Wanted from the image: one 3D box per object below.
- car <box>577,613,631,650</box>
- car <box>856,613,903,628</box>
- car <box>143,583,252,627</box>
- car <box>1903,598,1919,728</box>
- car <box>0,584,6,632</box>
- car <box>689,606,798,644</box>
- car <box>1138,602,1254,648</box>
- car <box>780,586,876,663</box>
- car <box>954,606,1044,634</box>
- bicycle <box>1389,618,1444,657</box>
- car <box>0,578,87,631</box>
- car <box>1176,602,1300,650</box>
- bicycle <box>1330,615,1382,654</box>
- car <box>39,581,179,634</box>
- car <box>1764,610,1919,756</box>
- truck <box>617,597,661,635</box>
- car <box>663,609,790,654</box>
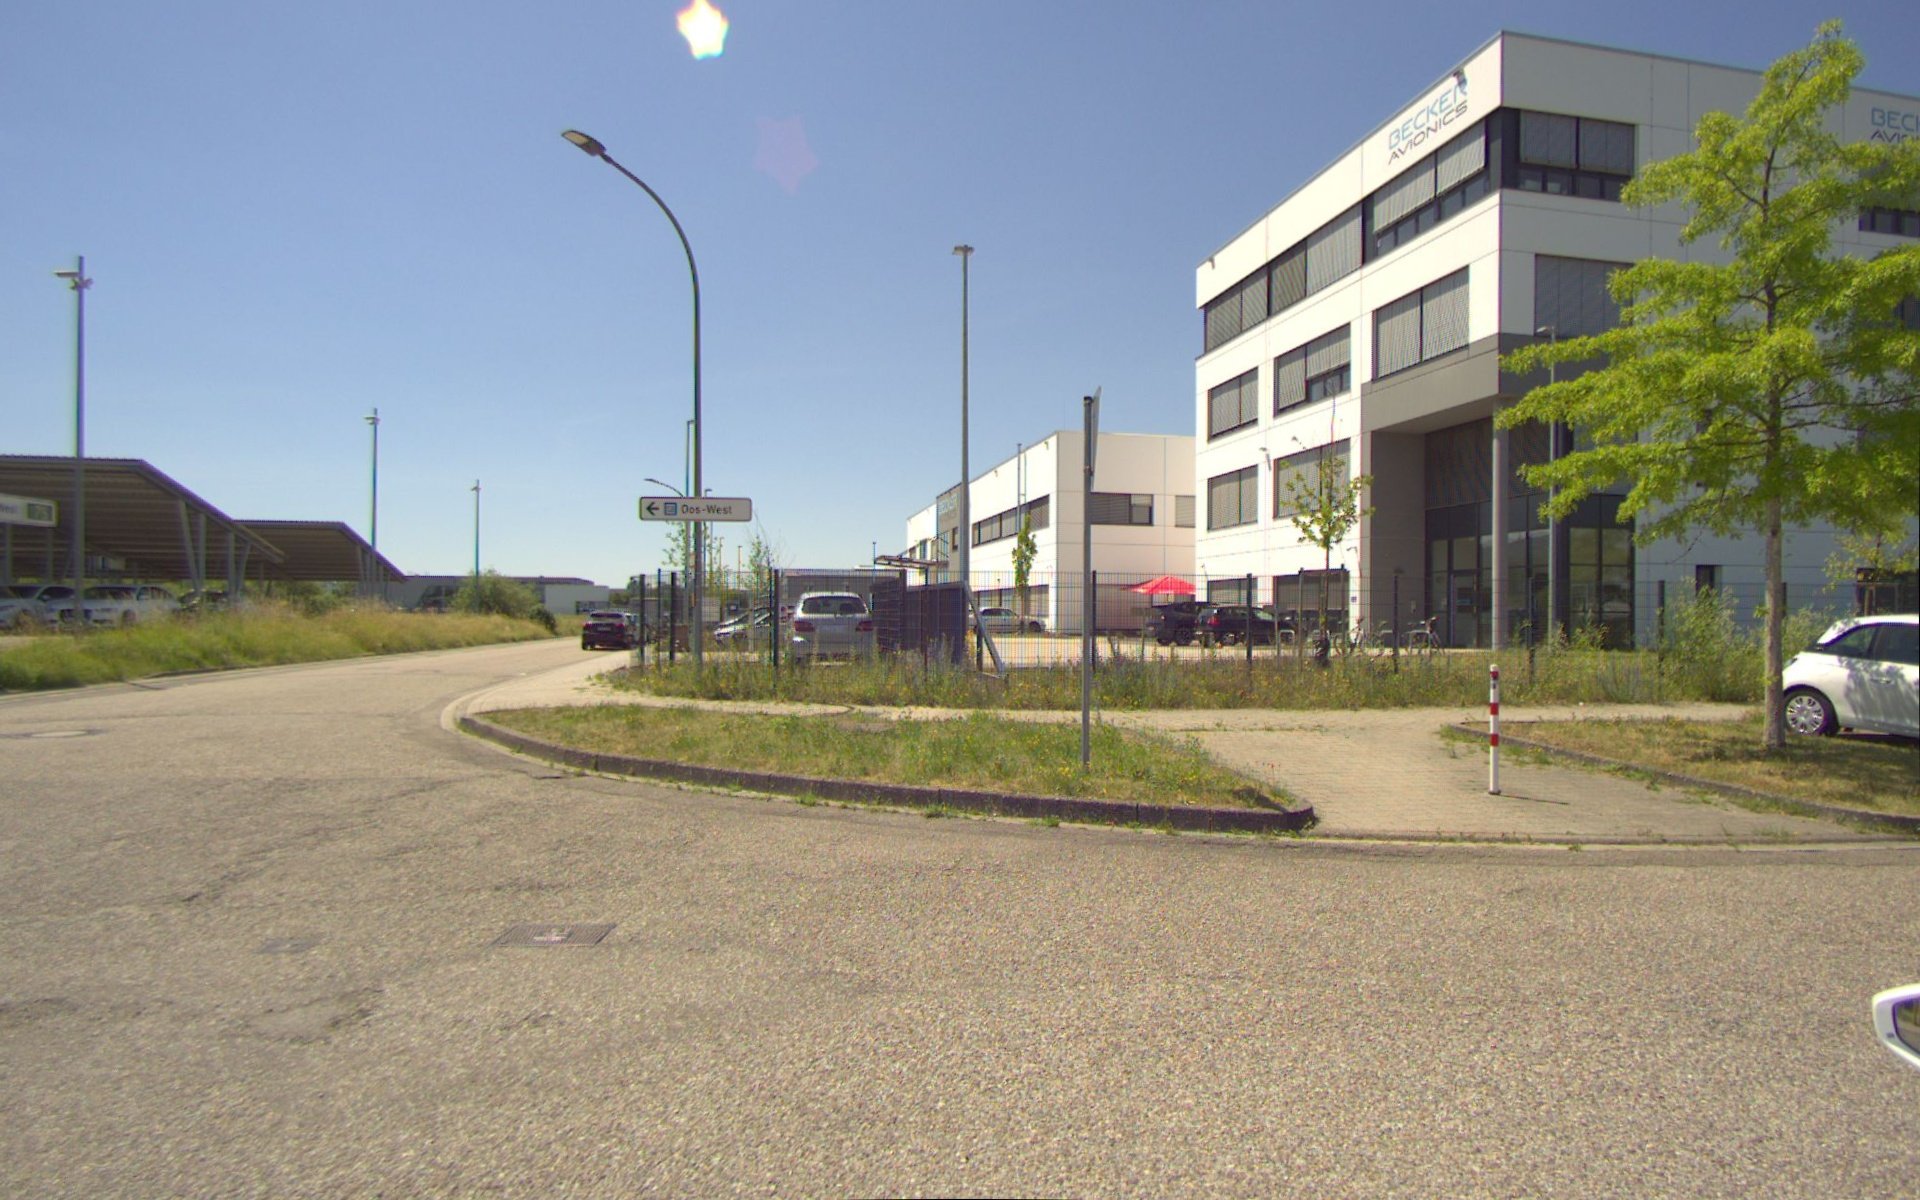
[{"bbox_3d":[-14.069,1.206,39.872,1.669,1.395,3.988,0,-1,-14],"label":"car"},{"bbox_3d":[-7.408,1.873,92.210,4.092,1.357,1.777,0,-1,-13],"label":"car"},{"bbox_3d":[-26.609,0.189,35.196,1.694,1.455,3.765,0,-1,-15],"label":"car"},{"bbox_3d":[13.264,0.819,11.047,1.798,1.615,3.839,0,1,-14],"label":"car"},{"bbox_3d":[-29.643,0.218,28.806,1.694,1.455,3.765,0,-1,-15],"label":"car"},{"bbox_3d":[-8.919,1.013,41.557,4.327,1.535,1.696,0,0,-12],"label":"car"},{"bbox_3d":[8.987,0.941,38.355,3.931,1.706,1.777,0,-1,-13],"label":"car"},{"bbox_3d":[-2.882,0.500,21.308,1.694,1.483,3.672,0,-1,-13],"label":"car"},{"bbox_3d":[1.934,1.015,50.811,4.263,1.357,1.777,0,-1,-13],"label":"car"},{"bbox_3d":[12.116,0.974,26.697,0.454,0.995,1.593,0,-1,-13],"label":"bicycle"},{"bbox_3d":[-27.797,0.152,29.520,1.694,1.455,3.765,0,-1,-15],"label":"car"},{"bbox_3d":[9.892,0.913,35.844,3.931,1.623,1.777,0,-1,-13],"label":"car"},{"bbox_3d":[10.299,0.888,26.171,0.454,0.995,1.593,0,-1,-13],"label":"bicycle"},{"bbox_3d":[-25.107,0.239,29.798,1.694,1.455,3.765,0,-1,-15],"label":"car"},{"bbox_3d":[10.798,0.888,10.450,1.697,1.460,3.508,0,1,-12],"label":"car"},{"bbox_3d":[-18.338,0.909,57.526,2.131,2.040,5.080,0,-1,-15],"label":"truck"},{"bbox_3d":[-8.316,1.109,36.003,4.327,1.535,1.696,0,0,-12],"label":"car"}]
